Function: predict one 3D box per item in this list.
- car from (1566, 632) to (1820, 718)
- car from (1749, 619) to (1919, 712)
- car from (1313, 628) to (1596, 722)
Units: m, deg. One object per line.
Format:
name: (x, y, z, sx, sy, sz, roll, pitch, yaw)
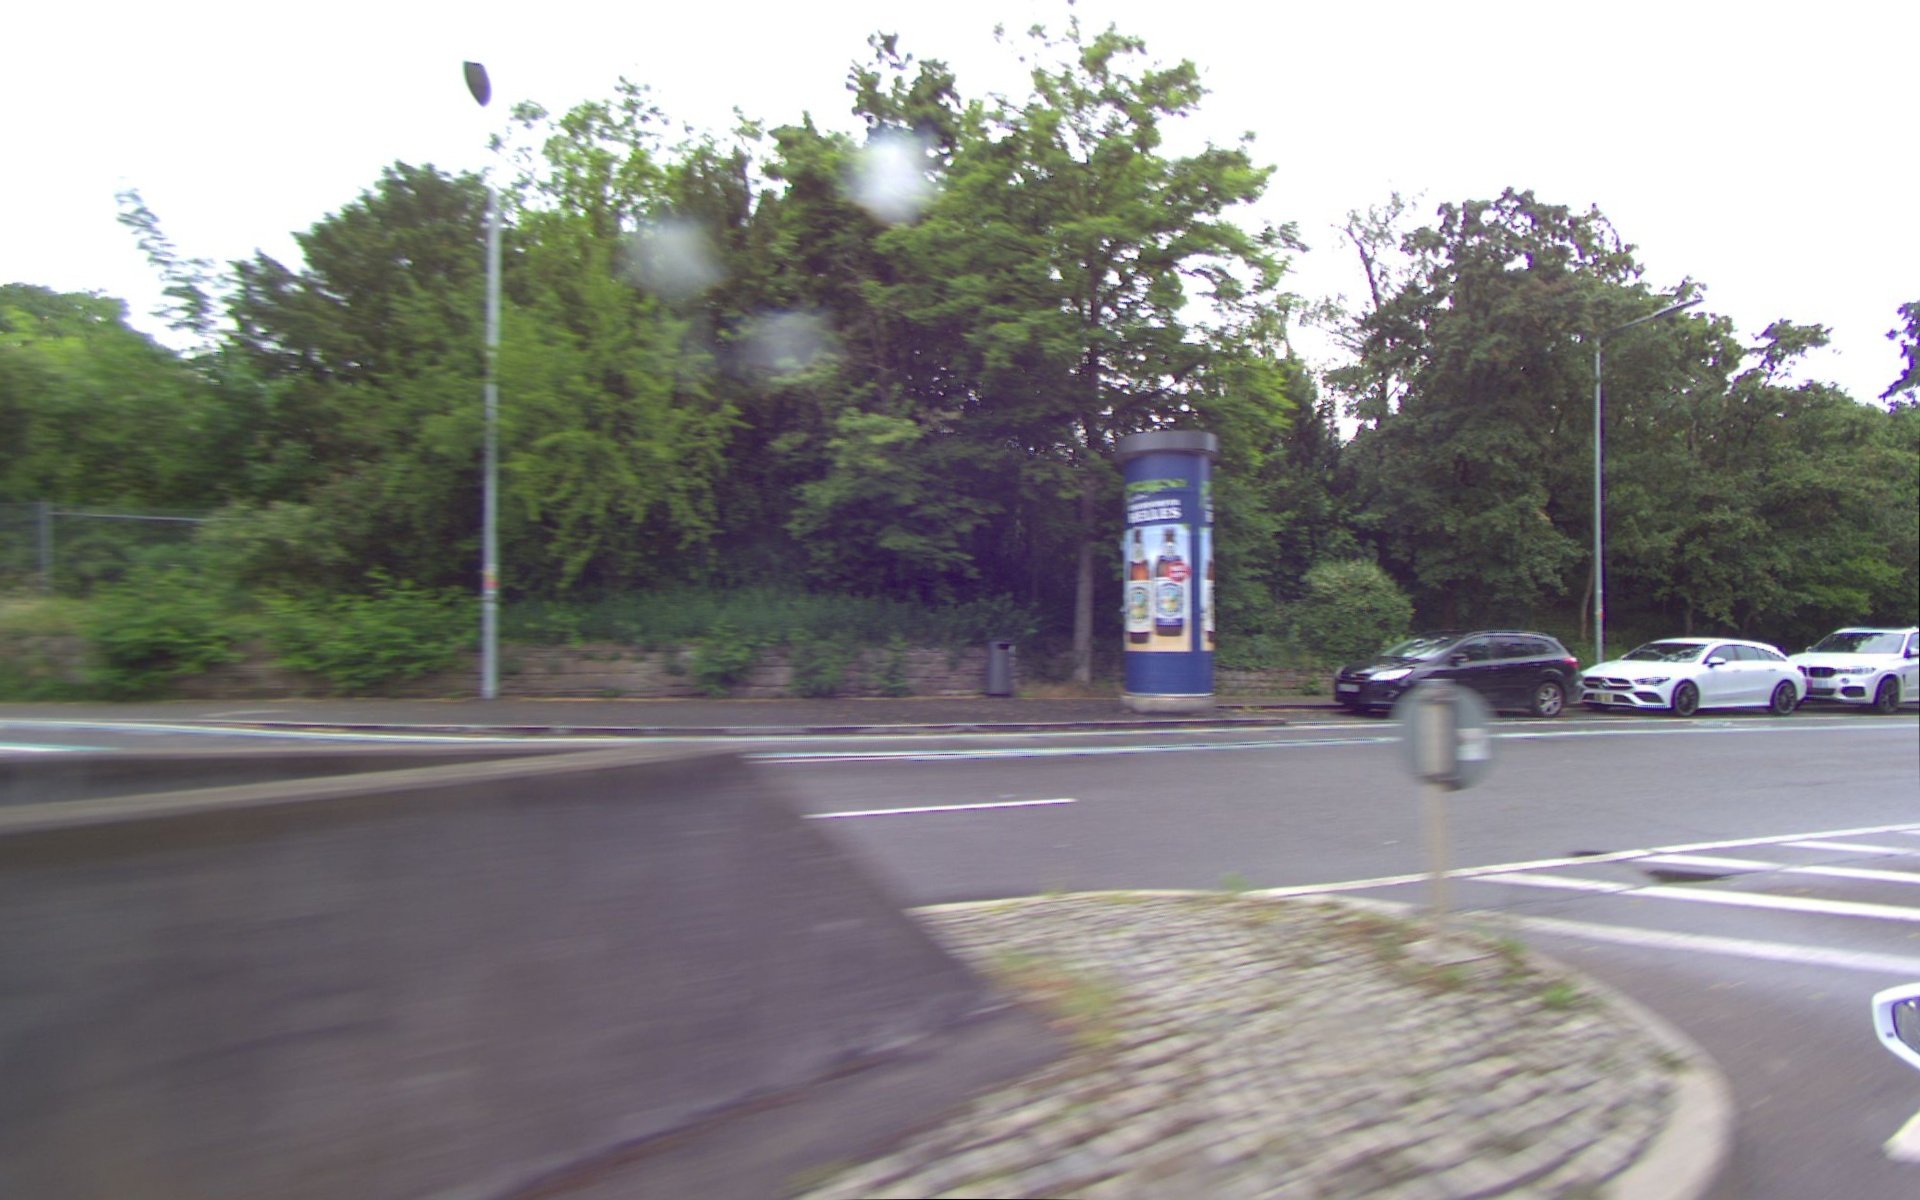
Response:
car: (14.200, 1.407, 19.448, 4.637, 1.479, 1.716, 1, -1, -20)
car: (19.442, 1.365, 21.358, 4.886, 1.788, 1.990, 2, -1, -21)
car: (8.654, 1.277, 17.607, 4.514, 1.464, 1.748, 1, -1, -18)
